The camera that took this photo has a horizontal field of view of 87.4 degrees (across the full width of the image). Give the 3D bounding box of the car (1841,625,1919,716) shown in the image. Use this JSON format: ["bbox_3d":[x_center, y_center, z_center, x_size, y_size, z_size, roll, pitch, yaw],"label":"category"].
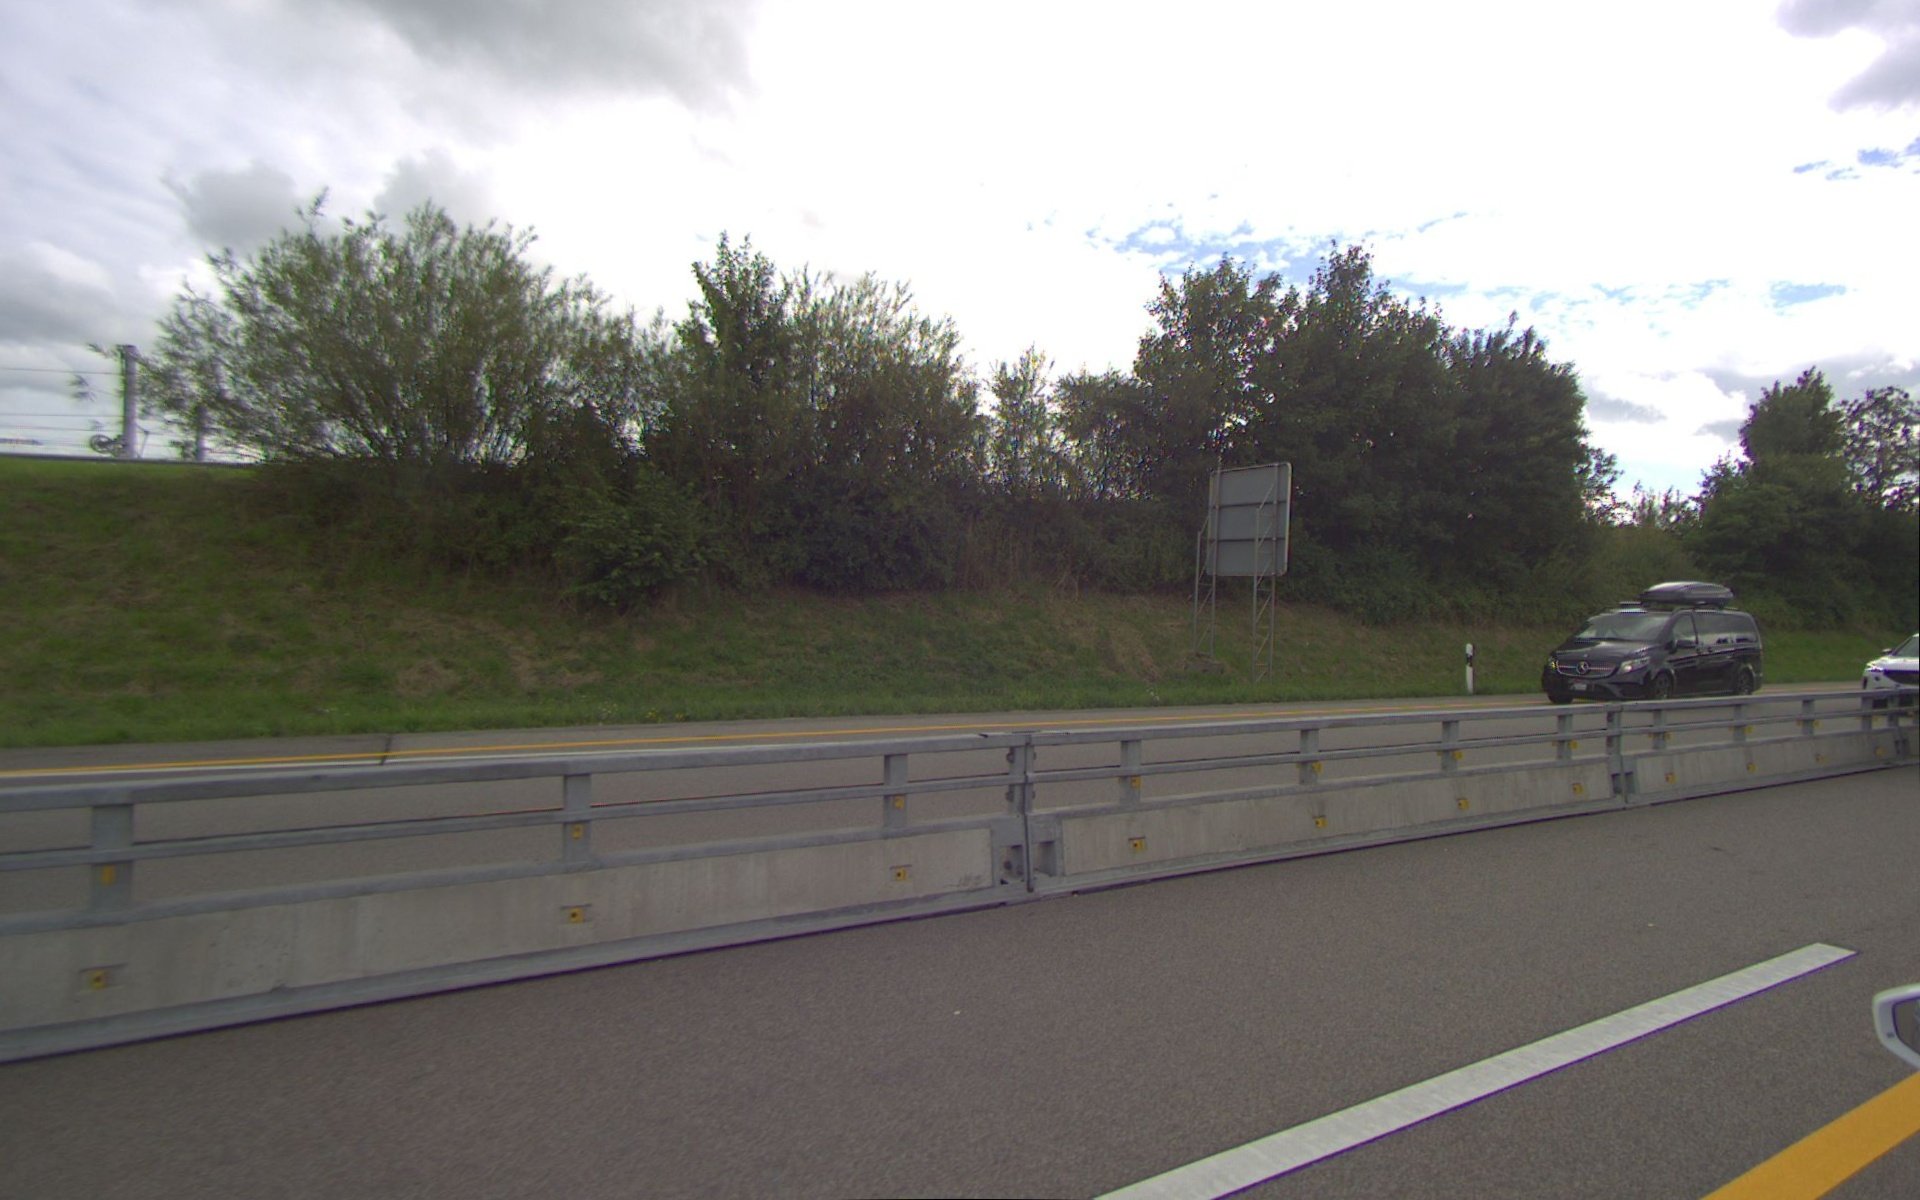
[{"bbox_3d":[18.400,1.270,18.473,4.615,1.541,1.984,2,-1,-31],"label":"car"}]

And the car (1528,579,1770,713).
[{"bbox_3d":[13.272,0.847,19.261,4.993,2.282,1.983,2,0,-32],"label":"car"}]
